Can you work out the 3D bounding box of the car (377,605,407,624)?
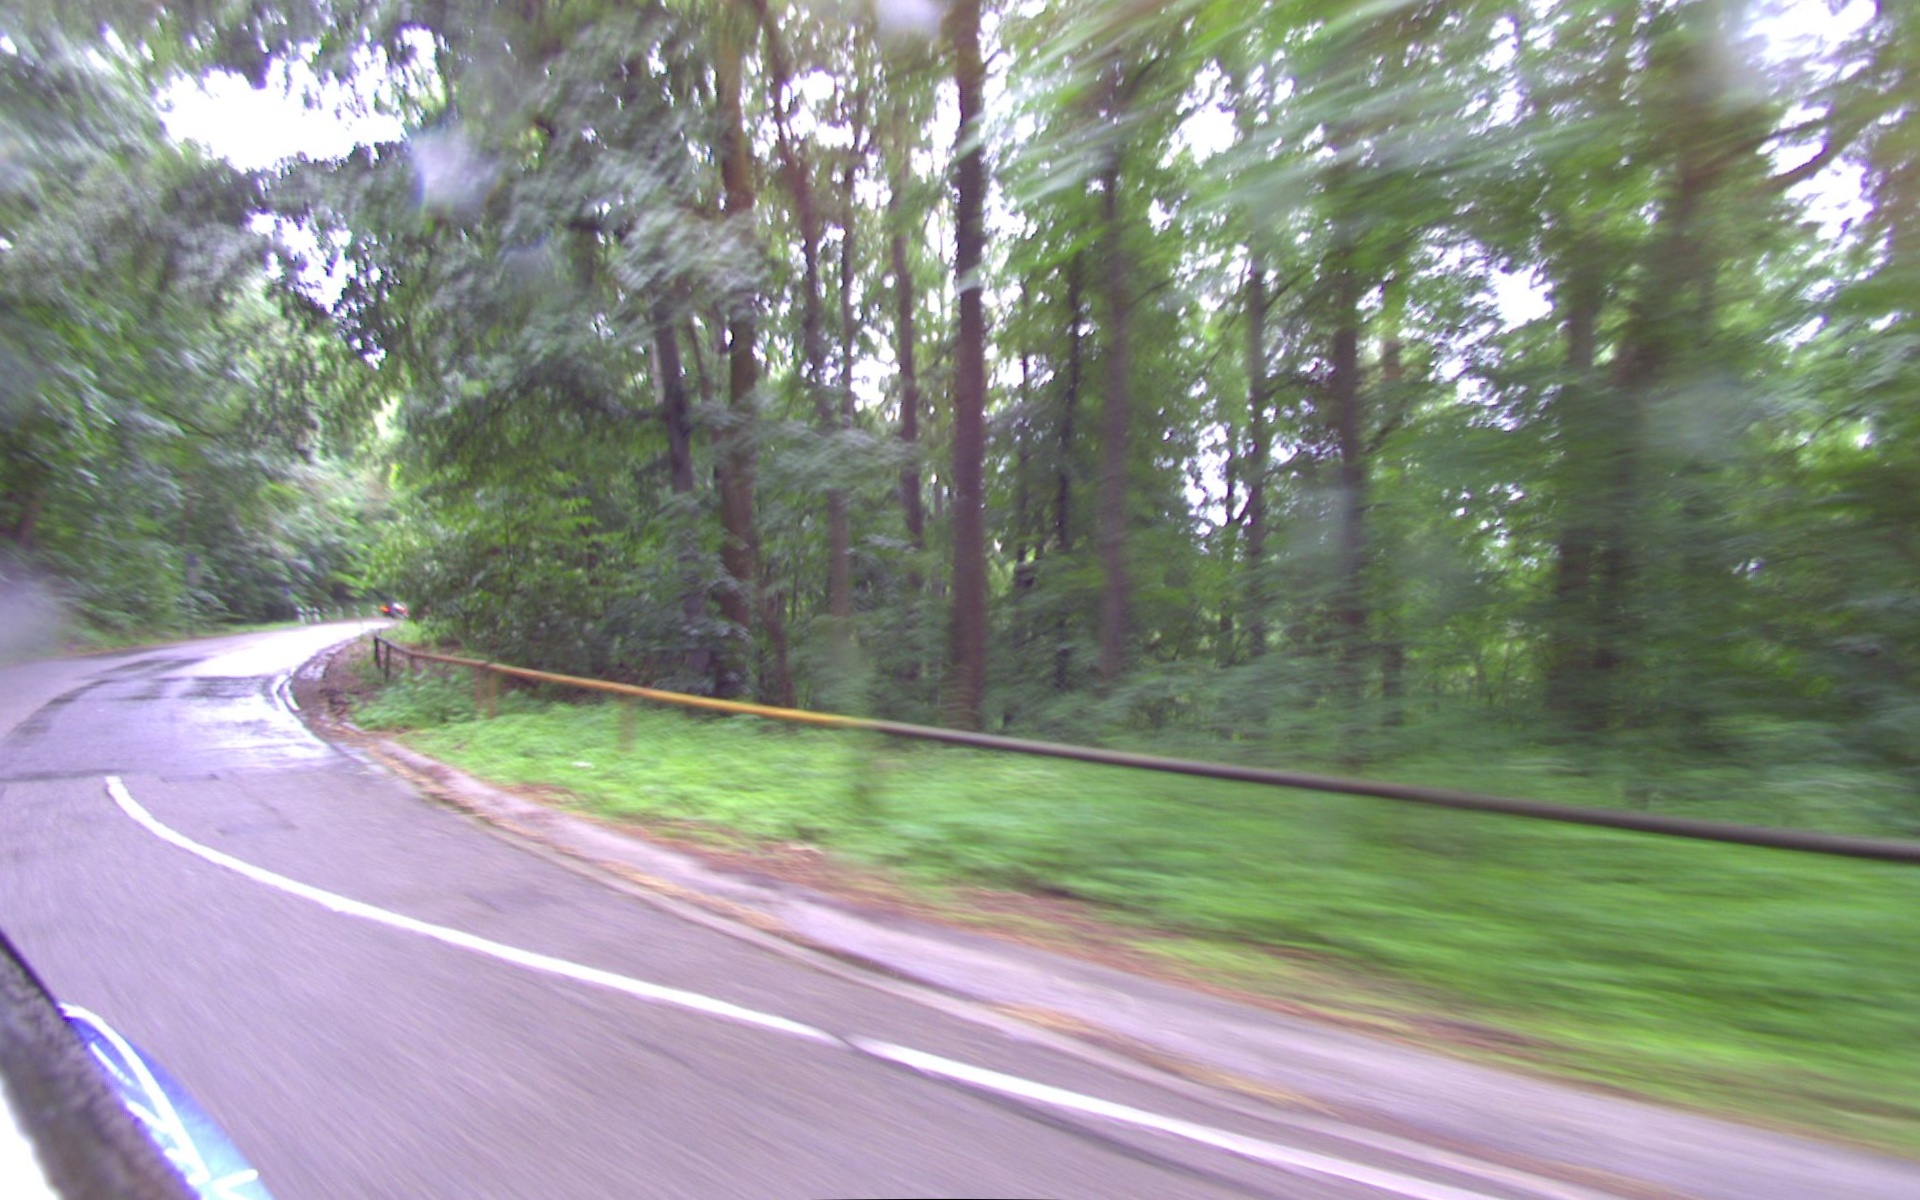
[{"bbox_3d":[-54.301,1.359,96.839,1.965,1.763,4.013,-1,0,-22],"label":"car"}]
